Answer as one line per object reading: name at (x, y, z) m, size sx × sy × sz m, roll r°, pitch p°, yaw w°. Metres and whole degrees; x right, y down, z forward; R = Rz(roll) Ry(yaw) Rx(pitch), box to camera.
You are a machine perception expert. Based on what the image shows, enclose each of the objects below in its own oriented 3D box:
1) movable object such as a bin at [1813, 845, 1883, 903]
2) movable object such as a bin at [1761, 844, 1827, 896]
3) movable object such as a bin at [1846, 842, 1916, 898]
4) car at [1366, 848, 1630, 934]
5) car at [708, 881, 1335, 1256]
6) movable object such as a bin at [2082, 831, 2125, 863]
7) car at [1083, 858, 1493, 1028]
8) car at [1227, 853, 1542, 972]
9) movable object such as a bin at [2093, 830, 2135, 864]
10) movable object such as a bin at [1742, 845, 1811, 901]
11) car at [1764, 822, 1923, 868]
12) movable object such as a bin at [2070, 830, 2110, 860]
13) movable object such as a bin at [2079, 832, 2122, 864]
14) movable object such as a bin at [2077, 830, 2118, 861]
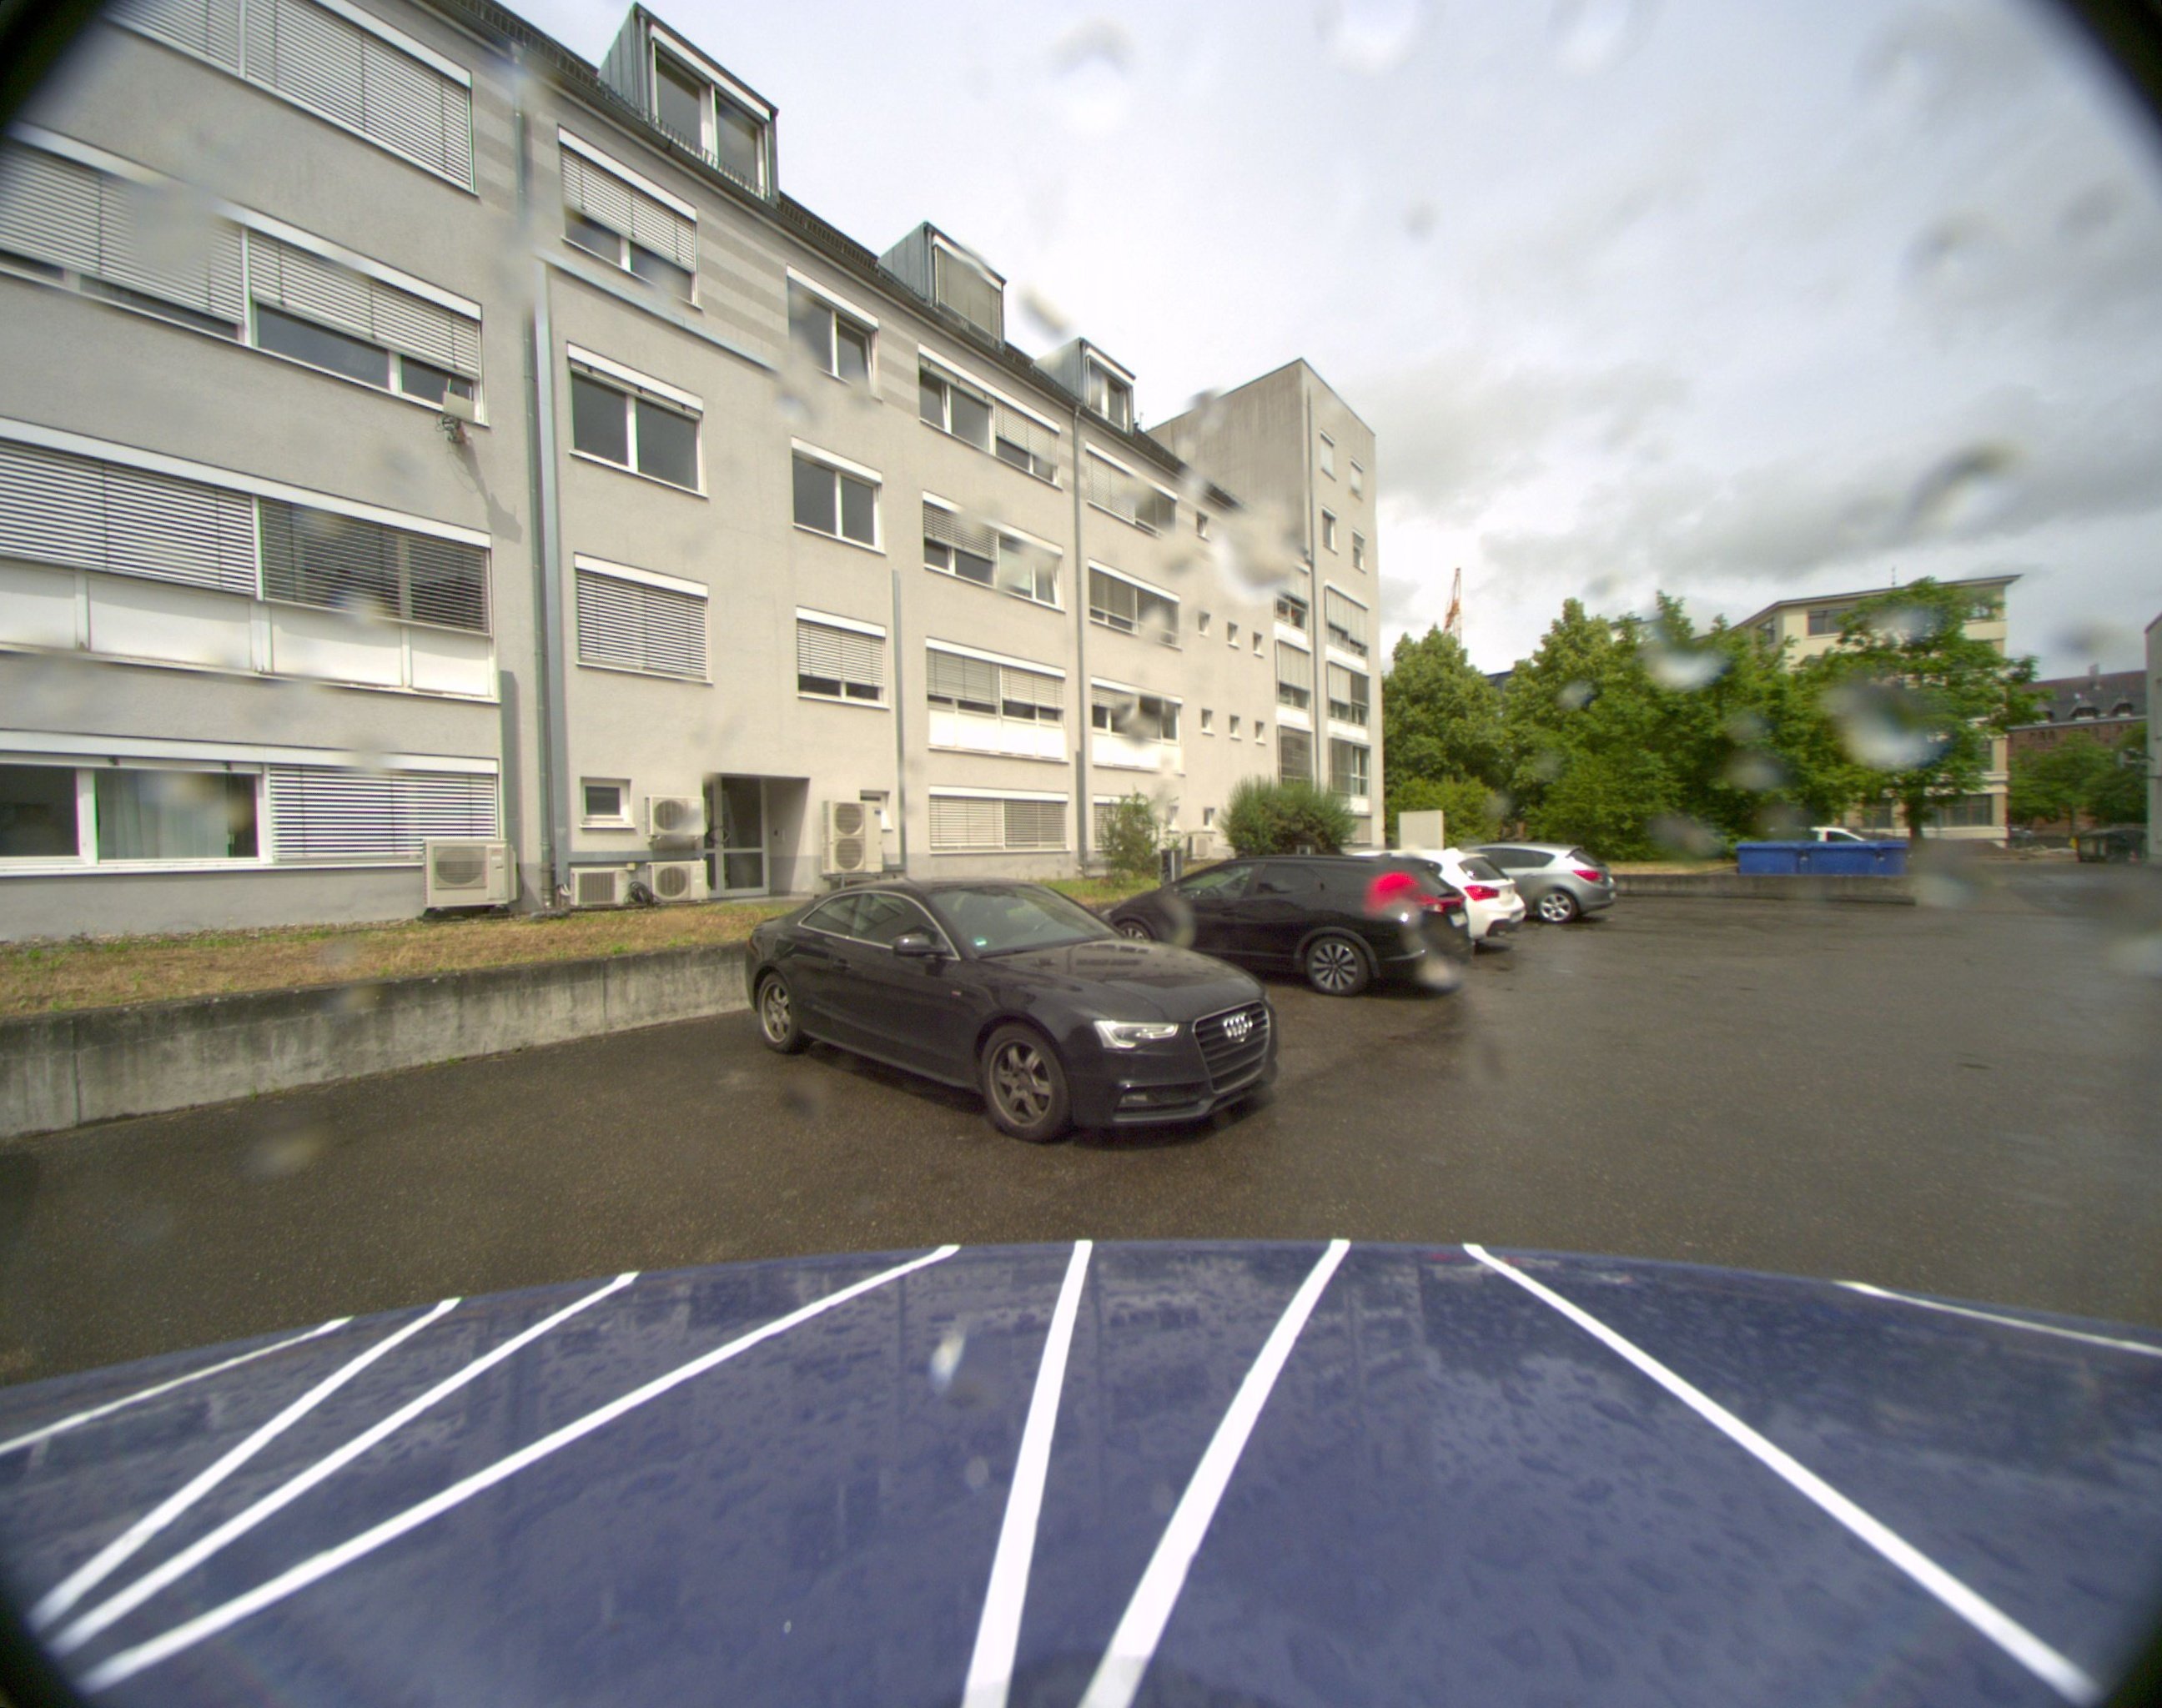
movable object such as a bin at (18.609, 0.459, 18.436) m, size 1.210 × 1.318 × 1.092 m, roll -3°, pitch 1°, yaw -39°
movable object such as a bin at (19.141, 0.410, 20.391) m, size 1.210 × 1.321 × 1.128 m, roll -3°, pitch 1°, yaw -39°
movable object such as a bin at (20.278, 0.385, 19.261) m, size 1.210 × 1.321 × 1.128 m, roll -3°, pitch 1°, yaw -39°
car at (8.165, 0.614, 15.118) m, size 4.303 × 1.434 × 1.766 m, roll 1°, pitch 2°, yaw 41°
car at (-0.764, 0.987, 5.362) m, size 4.515 × 1.344 × 1.766 m, roll 1°, pitch 2°, yaw 42°
movable object such as a bin at (44.786, -0.308, 33.305) m, size 1.220 × 1.348 × 1.060 m, roll -3°, pitch 1°, yaw -39°
car at (2.236, 0.822, 8.947) m, size 4.303 × 1.434 × 1.766 m, roll 1°, pitch 2°, yaw 41°
car at (4.476, 0.735, 11.596) m, size 4.113 × 1.434 × 1.699 m, roll 1°, pitch 3°, yaw 43°
movable object such as a bin at (42.465, -0.281, 31.251) m, size 0.921 × 1.348 × 0.976 m, roll -3°, pitch 1°, yaw -39°
movable object such as a bin at (17.758, 0.472, 19.413) m, size 1.210 × 1.321 × 1.128 m, roll -3°, pitch 1°, yaw -39°
car at (30.639, -0.340, 30.661) m, size 1.725 × 1.717 × 4.323 m, roll -3°, pitch 1°, yaw -37°
movable object such as a bin at (46.924, -0.411, 35.360) m, size 1.267 × 1.348 × 1.063 m, roll -3°, pitch 1°, yaw -39°
movable object such as a bin at (43.664, -0.259, 32.547) m, size 1.210 × 1.348 × 1.043 m, roll -3°, pitch 1°, yaw -39°
movable object such as a bin at (45.964, -0.364, 34.362) m, size 1.267 × 1.348 × 1.063 m, roll -3°, pitch 1°, yaw -39°
